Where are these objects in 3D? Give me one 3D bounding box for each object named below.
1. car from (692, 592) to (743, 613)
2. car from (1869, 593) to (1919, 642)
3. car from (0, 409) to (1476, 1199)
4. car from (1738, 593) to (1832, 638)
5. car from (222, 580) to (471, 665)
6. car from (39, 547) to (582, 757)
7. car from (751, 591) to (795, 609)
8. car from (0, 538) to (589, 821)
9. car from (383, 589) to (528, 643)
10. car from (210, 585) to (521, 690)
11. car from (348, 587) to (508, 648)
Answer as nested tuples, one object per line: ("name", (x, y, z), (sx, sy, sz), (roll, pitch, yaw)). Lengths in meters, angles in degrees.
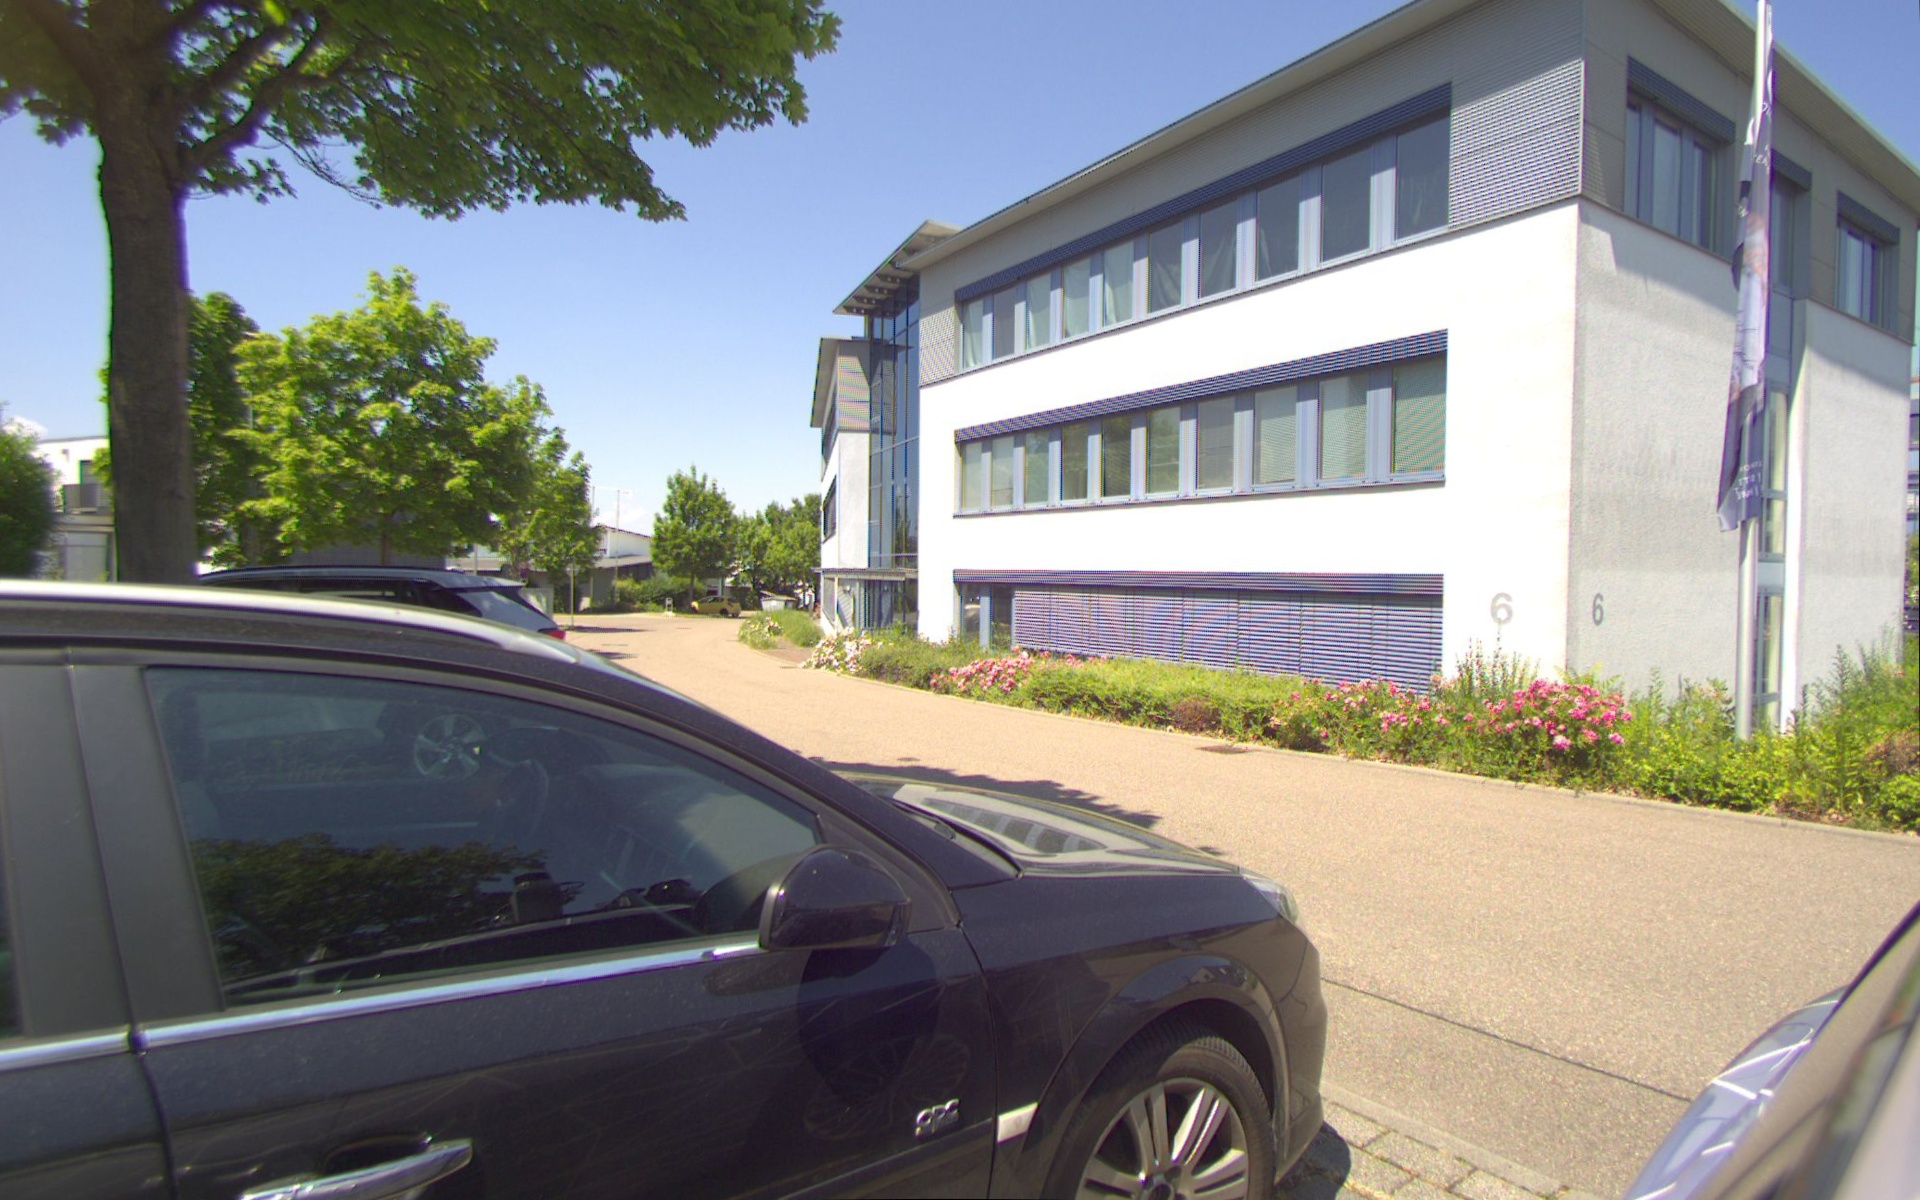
("car", (-17.079, 0.154, 71.198), (3.172, 1.460, 1.580), (0, 0, 18))
("car", (32.723, 0.554, 34.516), (3.925, 1.565, 1.788), (-1, 1, -36))
("car", (-1.033, 0.606, 1.875), (4.480, 1.569, 1.763), (0, 0, -37))
("car", (30.621, 0.530, 37.546), (3.925, 1.565, 1.788), (-1, 1, -36))
("car", (-12.392, 0.467, 20.739), (4.090, 1.625, 1.664), (1, -1, -21))
("car", (-6.065, 0.445, 9.910), (4.122, 1.664, 1.661), (1, -1, -35))
("car", (-15.202, -0.012, 82.394), (3.172, 1.460, 1.580), (0, 0, 18))
("car", (-5.162, 0.482, 7.403), (4.249, 1.664, 1.857), (1, -1, -35))
("car", (-14.652, 0.469, 29.577), (3.514, 1.461, 1.639), (1, -1, -17))
("car", (-9.344, 0.577, 16.267), (4.092, 1.505, 1.663), (1, -1, -27))
("car", (-14.211, 0.463, 27.227), (3.514, 1.545, 1.639), (1, -1, -17))
